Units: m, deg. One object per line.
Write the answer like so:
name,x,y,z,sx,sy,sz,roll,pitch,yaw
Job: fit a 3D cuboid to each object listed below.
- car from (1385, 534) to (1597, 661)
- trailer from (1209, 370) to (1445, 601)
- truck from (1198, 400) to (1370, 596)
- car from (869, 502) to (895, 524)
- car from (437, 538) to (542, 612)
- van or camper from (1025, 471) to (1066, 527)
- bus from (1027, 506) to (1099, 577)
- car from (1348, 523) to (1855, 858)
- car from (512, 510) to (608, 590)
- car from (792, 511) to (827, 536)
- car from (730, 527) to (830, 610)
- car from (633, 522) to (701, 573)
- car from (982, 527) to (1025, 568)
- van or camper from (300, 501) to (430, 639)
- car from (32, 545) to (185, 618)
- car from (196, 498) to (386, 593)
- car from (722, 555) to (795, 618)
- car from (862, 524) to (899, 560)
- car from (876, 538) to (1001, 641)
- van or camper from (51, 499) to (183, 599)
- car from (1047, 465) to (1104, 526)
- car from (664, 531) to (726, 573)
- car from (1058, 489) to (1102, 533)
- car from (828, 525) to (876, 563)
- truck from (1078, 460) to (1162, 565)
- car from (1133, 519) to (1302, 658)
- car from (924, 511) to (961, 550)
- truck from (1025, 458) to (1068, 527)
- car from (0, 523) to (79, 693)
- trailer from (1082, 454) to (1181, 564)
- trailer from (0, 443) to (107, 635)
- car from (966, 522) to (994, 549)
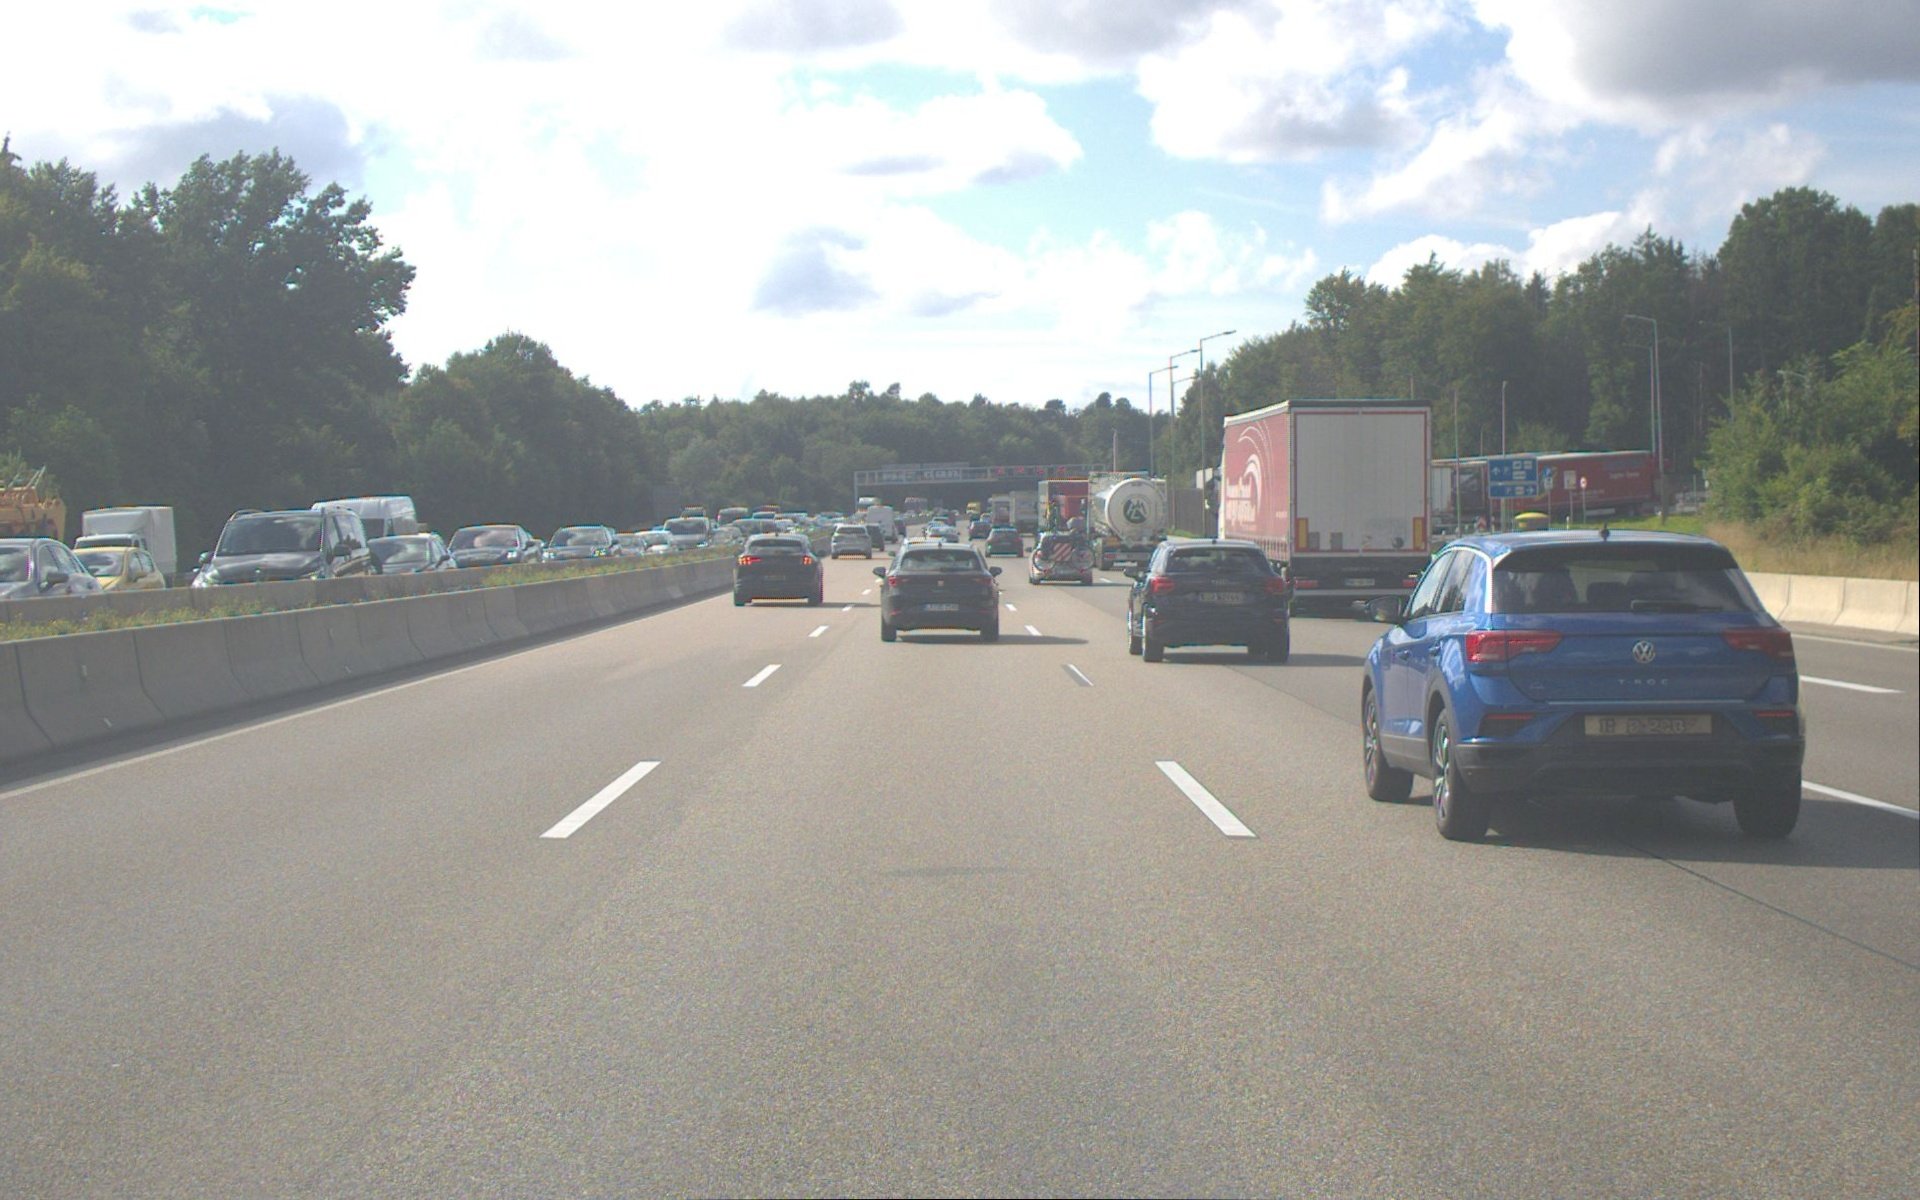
car,6.646,-0.049,43.444,1.715,1.506,4.302,-1,1,-4
trailer,6.992,-2.023,67.762,3.038,4.021,13.890,0,0,0
truck,6.953,-2.125,74.547,3.080,4.049,6.070,0,0,0
car,-5.330,-5.965,235.607,1.623,1.465,3.815,1,1,0
car,-10.537,-0.593,77.229,1.836,1.585,4.289,1,1,-1
van or camper,5.007,-5.925,202.857,2.351,3.133,5.710,0,0,1
bus,3.032,-1.713,102.035,1.993,2.007,4.000,0,0,0
car,3.286,0.377,18.536,1.924,1.536,4.645,1,1,1
car,-10.399,-1.300,89.685,1.882,2.007,4.519,1,1,1
car,-9.993,-5.087,228.604,1.993,1.567,5.329,2,2,1
car,-3.979,-0.717,76.400,1.993,1.770,4.000,1,1,0
car,-10.329,-1.866,121.624,1.993,1.729,5.091,1,1,-1
car,2.139,-2.578,170.275,1.993,2.007,4.000,1,0,0
van or camper,-14.220,-0.766,82.514,2.138,3.161,6.245,1,1,-1
car,-13.904,-0.325,56.315,1.585,1.123,4.000,1,1,-1
car,-10.160,-0.846,52.638,1.814,1.344,6.233,1,1,-1
car,-6.545,-0.452,111.951,1.993,1.914,4.000,0,2,2
car,-4.494,-3.278,195.299,1.993,2.007,4.000,1,1,0
car,-0.359,-0.185,51.502,1.734,1.360,4.001,1,3,-2
van or camper,-26.698,-1.638,109.213,2.572,3.067,7.197,0,1,-1
car,5.966,-5.398,178.316,2.866,2.981,5.149,0,0,1
car,-10.295,-1.876,133.881,1.993,1.567,4.815,0,2,1
car,5.859,-4.365,168.542,1.993,2.007,4.000,0,0,0
car,-5.173,-2.682,165.668,2.154,1.770,4.000,1,0,0
truck,6.471,-3.505,139.701,3.045,4.146,7.127,0,1,0
car,3.163,-0.157,42.895,1.799,1.639,4.000,1,1,0
car,-0.966,-3.794,187.943,1.993,2.007,4.000,-1,0,0
truck,4.895,-6.069,196.416,2.358,3.560,11.266,0,0,1
car,-9.913,0.041,33.436,1.723,1.598,4.000,1,1,-1
trailer,6.559,-3.426,133.103,3.036,4.002,12.246,0,0,-1
trailer,-18.065,-1.096,60.867,2.727,3.324,14.222,0,1,-1
car,1.475,-4.788,254.977,1.993,2.007,4.000,1,1,0
